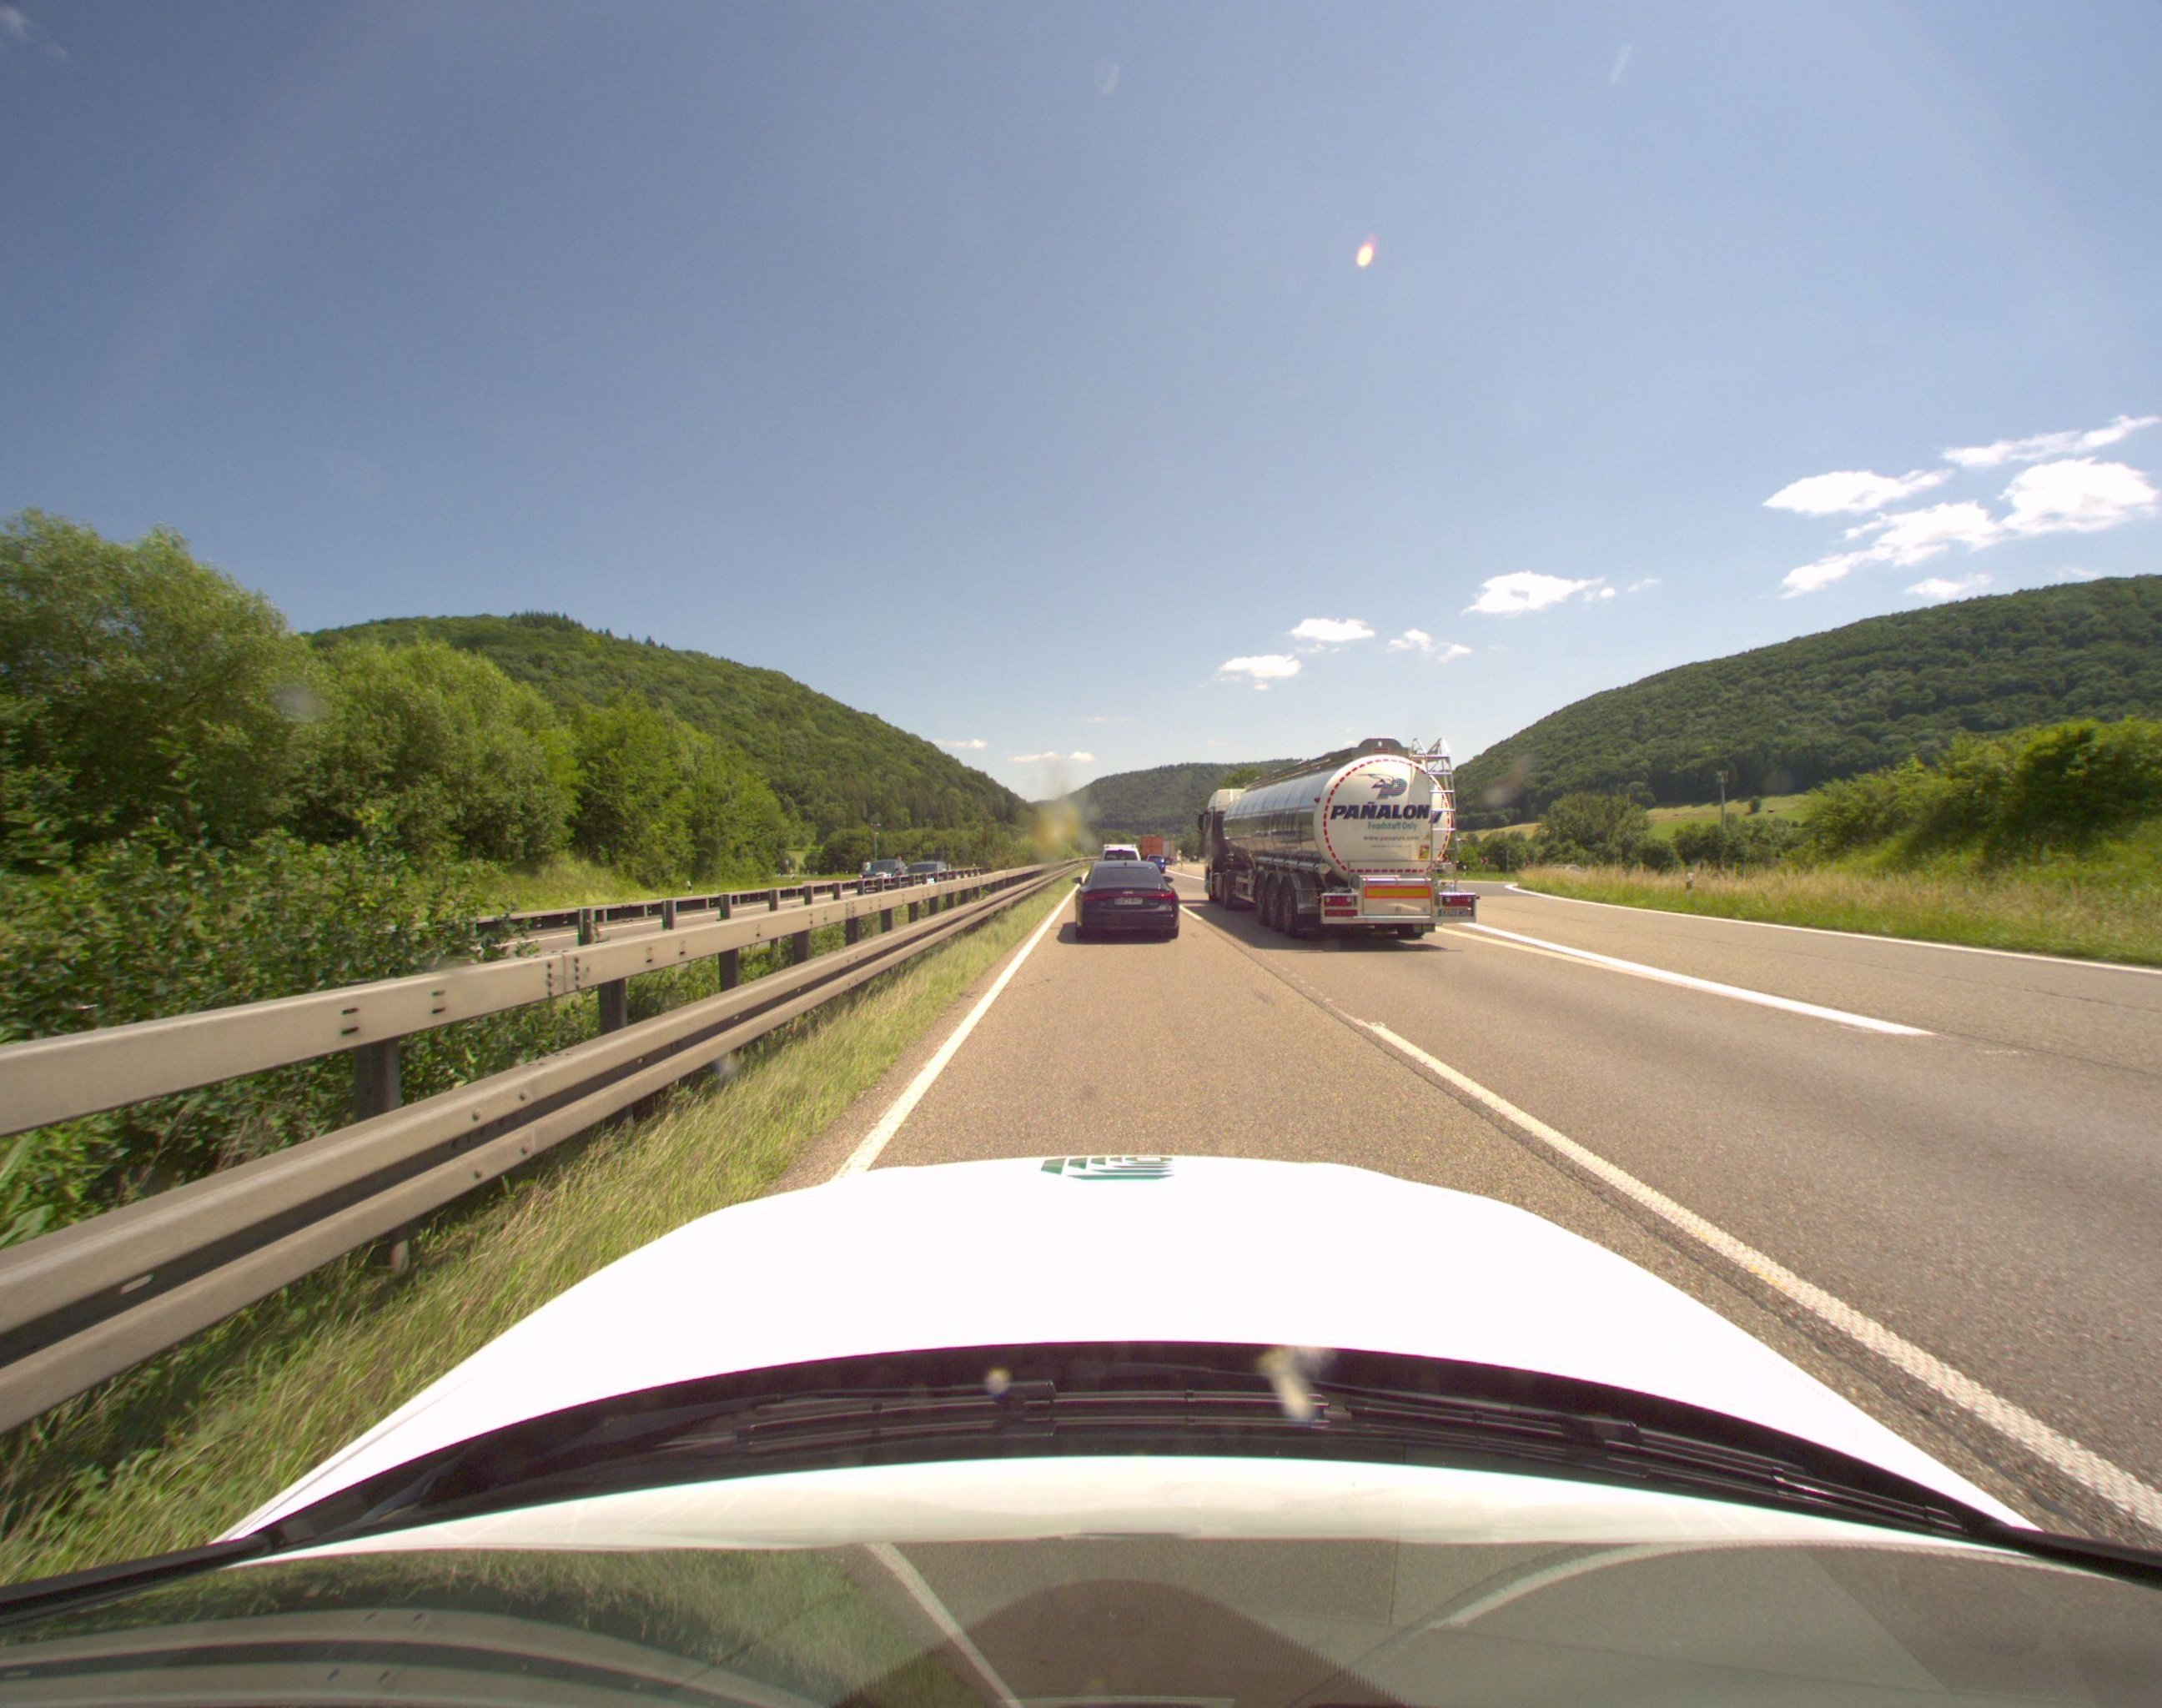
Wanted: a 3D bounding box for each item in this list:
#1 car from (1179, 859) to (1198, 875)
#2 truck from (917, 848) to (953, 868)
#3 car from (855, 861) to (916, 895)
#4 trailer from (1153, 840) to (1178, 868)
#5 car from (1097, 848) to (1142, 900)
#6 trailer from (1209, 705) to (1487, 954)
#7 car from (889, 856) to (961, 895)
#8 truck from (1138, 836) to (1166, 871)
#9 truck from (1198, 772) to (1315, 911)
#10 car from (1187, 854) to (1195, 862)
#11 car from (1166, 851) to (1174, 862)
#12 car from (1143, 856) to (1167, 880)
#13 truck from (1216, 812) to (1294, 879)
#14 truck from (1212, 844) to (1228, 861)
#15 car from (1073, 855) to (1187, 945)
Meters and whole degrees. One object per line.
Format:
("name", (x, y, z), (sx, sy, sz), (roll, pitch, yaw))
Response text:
("car", (11.379, 1.361, 86.598), (1.740, 1.530, 4.004), (-1, 0, 3))
("truck", (-20.875, 0.572, 116.837), (3.570, 2.695, 8.445), (-2, 0, -1))
("car", (-10.087, 1.187, 42.322), (1.915, 1.621, 4.563), (-1, 0, 2))
("trailer", (13.600, 0.005, 131.681), (3.004, 4.382, 10.988), (-1, 0, 1))
("car", (1.446, 0.713, 31.049), (1.570, 1.833, 4.001), (-1, 0, 2))
("trailer", (4.991, -0.364, 18.319), (2.529, 3.735, 11.894), (-1, 0, 1))
("car", (-6.493, 0.856, 34.441), (1.986, 1.519, 4.679), (-1, 0, 2))
("truck", (8.761, -0.092, 101.982), (2.806, 4.003, 14.965), (-1, 0, 3))
("truck", (5.159, -0.341, 24.856), (2.502, 3.758, 5.247), (-1, 0, 1))
("car", (27.824, 0.986, 206.188), (1.983, 2.014, 4.008), (-2, 0, 7))
("car", (23.381, 0.614, 213.958), (1.985, 2.935, 4.903), (-1, 0, 4))
("car", (6.604, 1.235, 72.916), (1.985, 2.002, 4.003), (-2, 0, 3))
("truck", (11.737, -0.483, 56.584), (2.806, 4.003, 14.965), (-1, 0, 3))
("truck", (37.110, -0.379, 217.092), (3.769, 4.414, 15.000), (-1, 0, 11))
("car", (0.807, 0.783, 15.823), (1.844, 1.488, 4.080), (-1, 0, -2))
